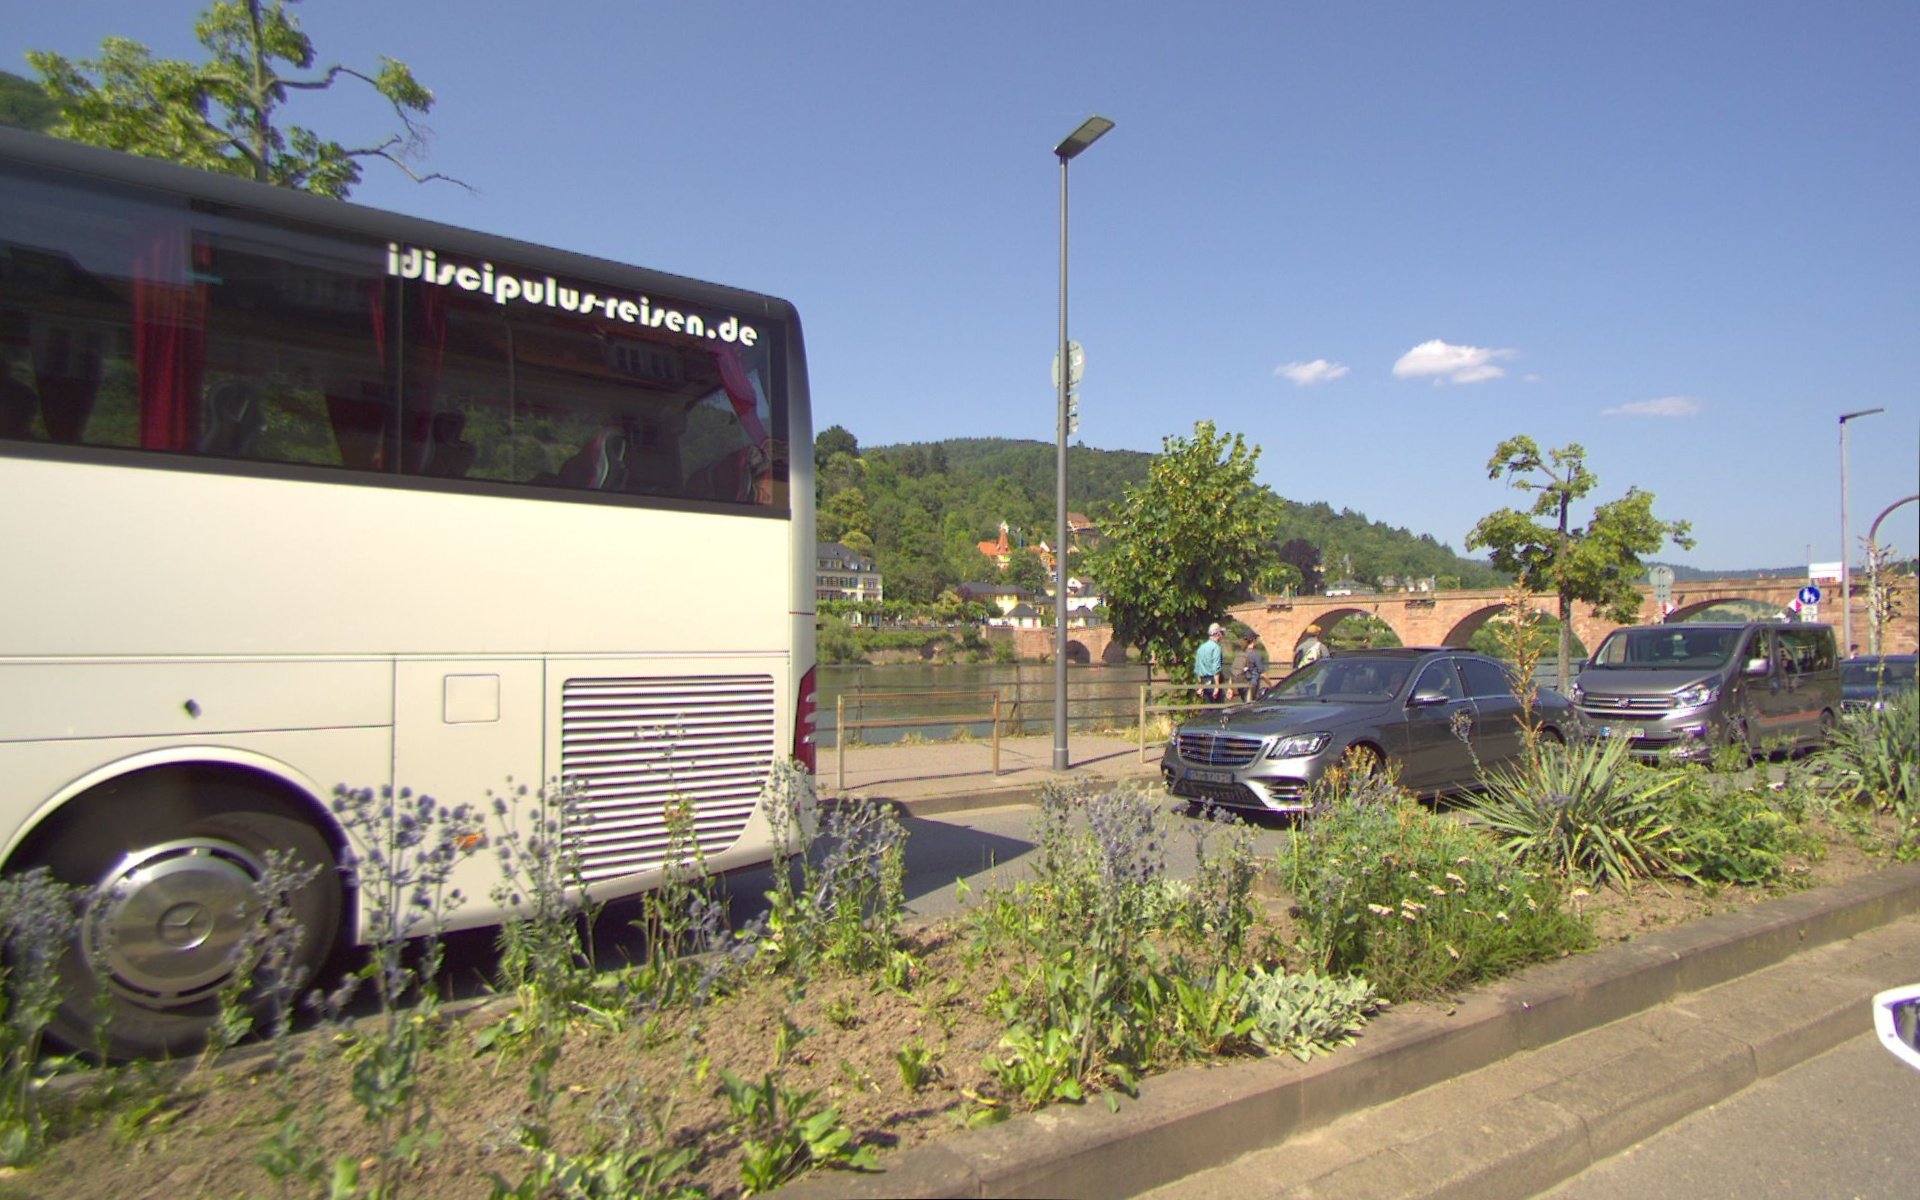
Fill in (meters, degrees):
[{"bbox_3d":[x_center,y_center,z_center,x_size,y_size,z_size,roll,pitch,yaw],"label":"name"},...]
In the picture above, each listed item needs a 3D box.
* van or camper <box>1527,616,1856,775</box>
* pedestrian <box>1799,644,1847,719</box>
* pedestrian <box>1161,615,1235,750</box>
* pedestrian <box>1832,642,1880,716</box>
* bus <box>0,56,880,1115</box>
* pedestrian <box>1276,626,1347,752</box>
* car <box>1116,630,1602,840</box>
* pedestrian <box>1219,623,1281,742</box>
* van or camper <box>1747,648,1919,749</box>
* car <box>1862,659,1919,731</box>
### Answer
[{"bbox_3d":[10.437,1.260,14.217,5.123,1.897,1.983,2,-4,-32],"label":"van or camper"},{"bbox_3d":[21.869,2.044,25.461,0.757,1.804,0.688,2,3,-38],"label":"pedestrian"},{"bbox_3d":[3.460,1.166,14.619,0.690,1.882,0.756,2,0,-38],"label":"pedestrian"},{"bbox_3d":[22.916,2.003,25.685,0.757,1.804,0.688,2,3,-38],"label":"pedestrian"},{"bbox_3d":[-6.420,-0.138,2.774,12.856,3.610,2.614,3,-3,-36],"label":"bus"},{"bbox_3d":[5.486,1.362,15.679,0.690,1.882,0.756,2,0,-38],"label":"pedestrian"},{"bbox_3d":[4.144,1.197,10.085,5.104,1.619,1.982,2,-6,-34],"label":"car"},{"bbox_3d":[4.092,1.142,14.173,0.635,1.622,0.537,2,0,-35],"label":"pedestrian"},{"bbox_3d":[15.796,1.623,17.215,5.008,1.495,1.984,2,-5,-32],"label":"van or camper"},{"bbox_3d":[21.030,1.930,21.016,4.518,1.427,1.943,2,-5,-32],"label":"car"}]
